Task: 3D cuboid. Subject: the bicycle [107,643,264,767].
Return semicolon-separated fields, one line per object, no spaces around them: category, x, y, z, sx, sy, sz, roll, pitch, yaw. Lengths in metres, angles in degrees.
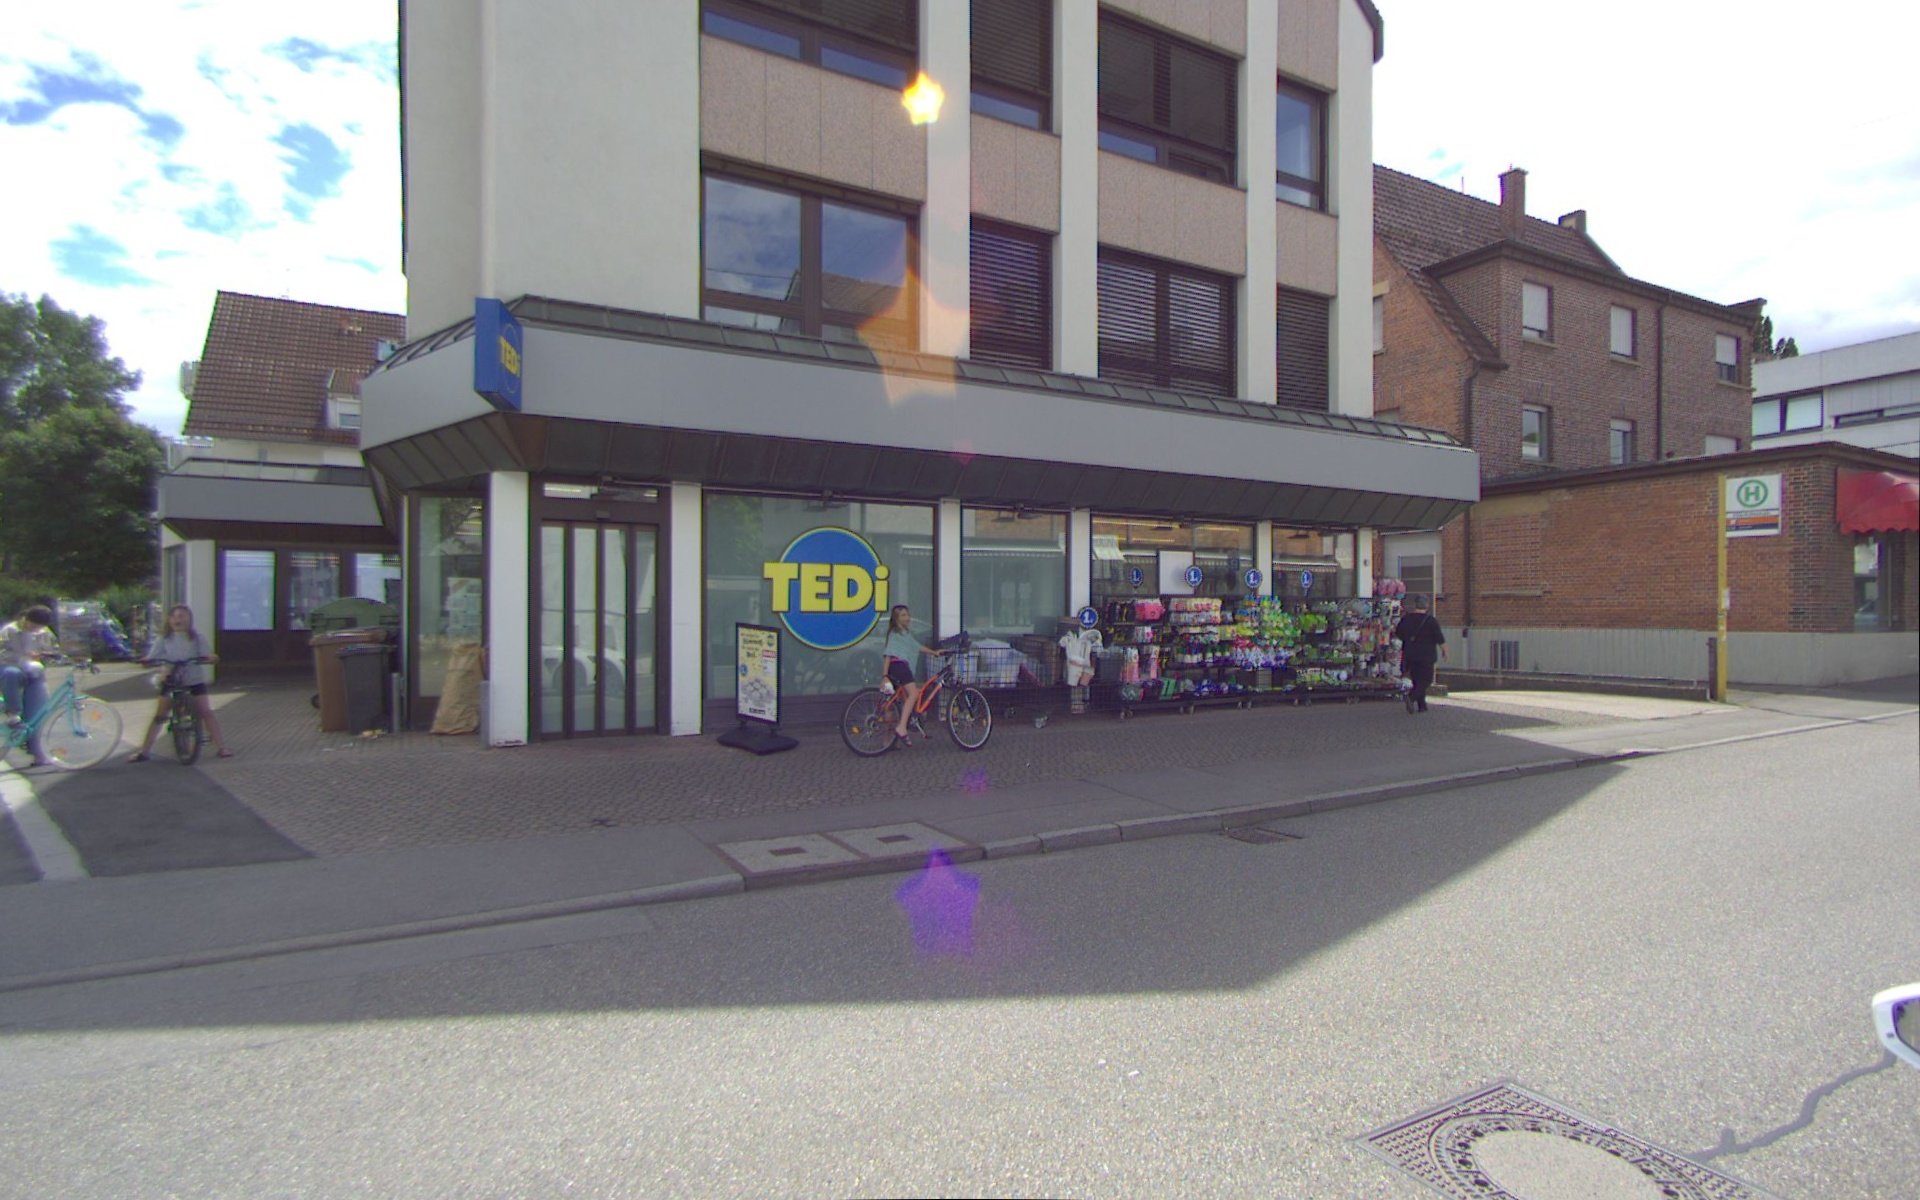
bicycle;-6.913;0.892;8.948;1.662;0.967;0.554;0;0;32

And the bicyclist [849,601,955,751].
bicyclist;-0.566;0.709;9.682;0.753;1.355;0.664;1;2;-30

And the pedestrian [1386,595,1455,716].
pedestrian;6.245;0.739;13.654;0.757;1.579;0.574;2;0;20

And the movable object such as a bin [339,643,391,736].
movable object such as a bin;-6.268;0.934;10.603;0.438;0.923;0.405;-2;1;-30

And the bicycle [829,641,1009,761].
bicycle;-0.379;0.949;9.781;1.714;1.064;0.441;2;2;-31

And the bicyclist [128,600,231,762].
bicyclist;-6.962;0.696;8.972;0.417;1.384;0.587;-1;1;32

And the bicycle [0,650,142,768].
bicycle;-7.752;0.893;8.383;1.557;0.929;0.459;0;0;6

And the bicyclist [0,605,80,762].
bicyclist;-7.865;0.672;8.389;0.418;1.258;0.642;1;0;3

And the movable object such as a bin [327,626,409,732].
movable object such as a bin;-6.528;0.846;11.106;0.729;1.080;0.680;-2;1;-30
